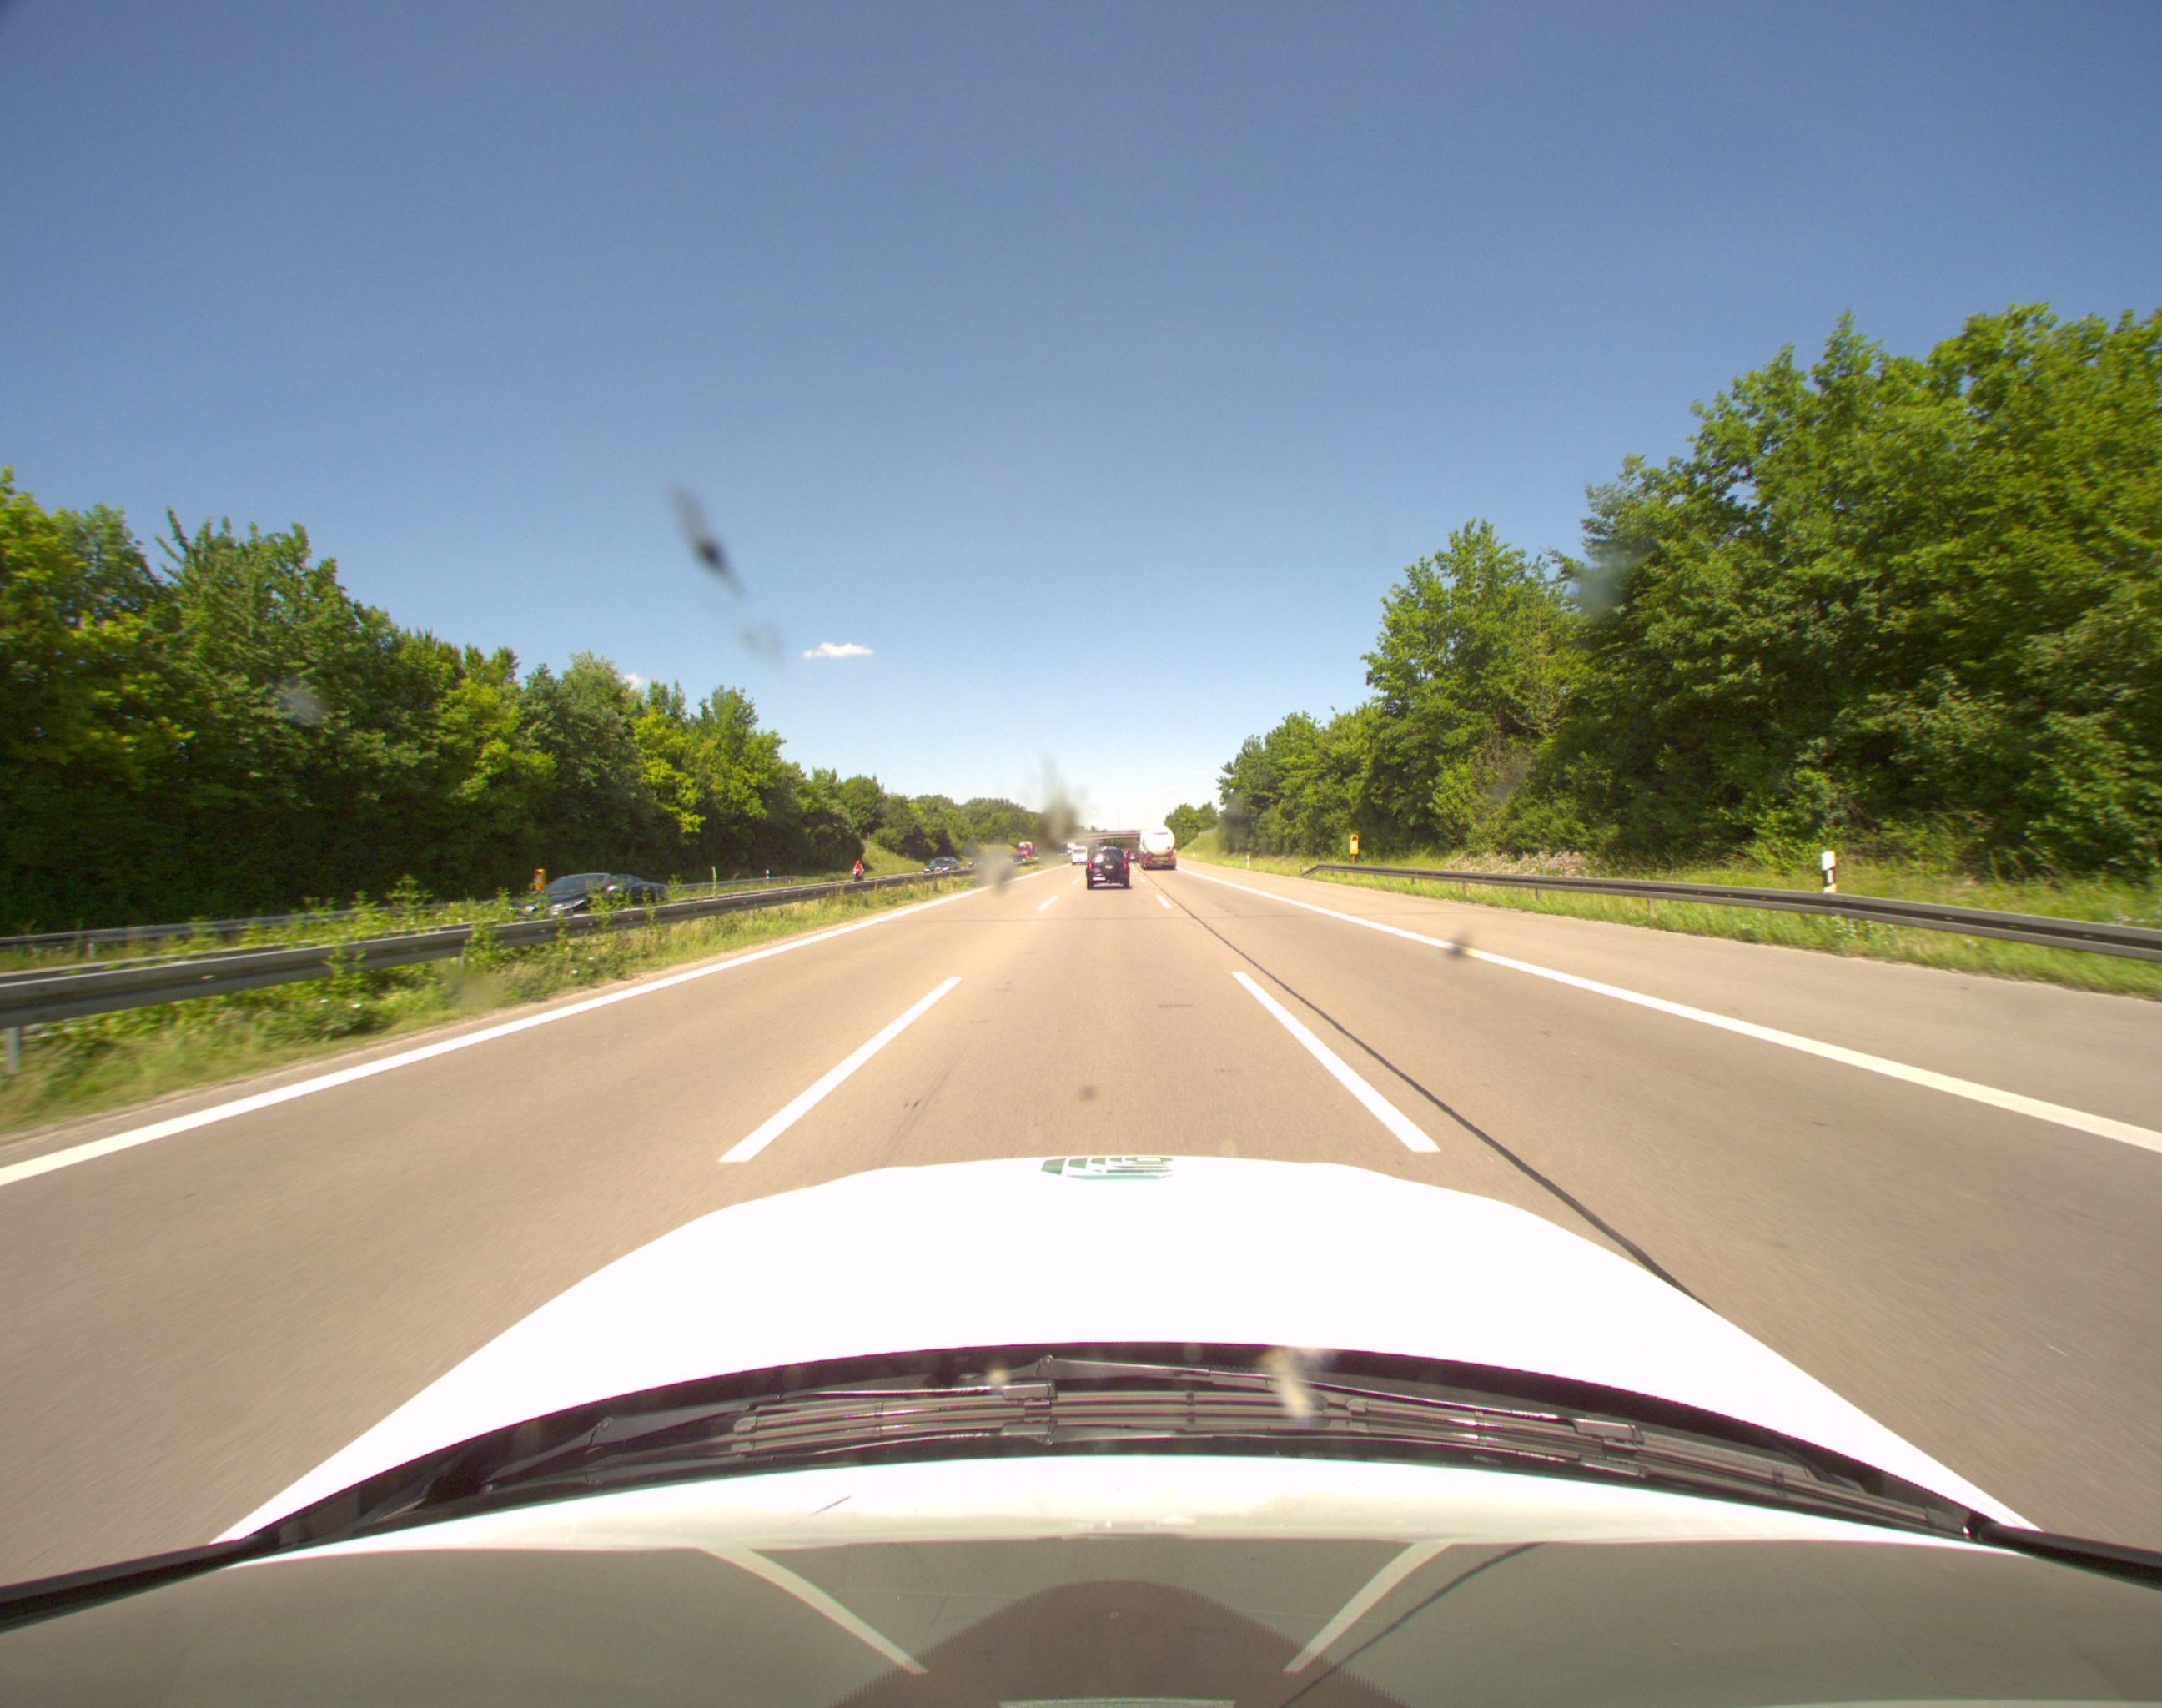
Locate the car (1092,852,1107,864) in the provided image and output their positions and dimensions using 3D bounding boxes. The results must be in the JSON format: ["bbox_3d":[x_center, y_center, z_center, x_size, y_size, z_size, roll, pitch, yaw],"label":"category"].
[{"bbox_3d":[2.692,0.605,115.919,1.986,1.552,4.001,-2,-1,2],"label":"car"}]

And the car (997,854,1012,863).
[{"bbox_3d":[-12.563,0.710,133.962,1.740,1.297,5.066,-3,0,2],"label":"car"}]

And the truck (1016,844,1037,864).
[{"bbox_3d":[-10.792,-0.041,162.326,2.668,3.769,9.927,-4,0,3],"label":"truck"}]

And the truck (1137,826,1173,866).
[{"bbox_3d":[6.527,-0.699,72.457,2.628,3.374,6.489,-1,0,1],"label":"truck"}]

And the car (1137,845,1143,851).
[{"bbox_3d":[17.090,-1.811,236.115,1.804,1.746,4.004,-3,0,3],"label":"car"}]

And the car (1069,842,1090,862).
[{"bbox_3d":[-0.129,-0.243,90.946,1.985,2.013,4.954,-3,0,3],"label":"car"}]

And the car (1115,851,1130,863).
[{"bbox_3d":[6.505,0.471,127.261,1.984,1.750,4.210,-2,0,5],"label":"car"}]

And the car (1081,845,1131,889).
[{"bbox_3d":[1.106,0.491,34.090,1.898,1.665,4.004,-2,0,4],"label":"car"}]

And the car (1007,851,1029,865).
[{"bbox_3d":[-7.444,0.479,97.183,1.986,1.475,4.834,-3,0,2],"label":"car"}]

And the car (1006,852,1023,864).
[{"bbox_3d":[-9.963,0.561,122.701,1.986,1.629,4.578,-3,0,2],"label":"car"}]

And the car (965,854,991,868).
[{"bbox_3d":[-11.983,0.829,95.211,1.986,1.475,5.626,-3,0,2],"label":"car"}]

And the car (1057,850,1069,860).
[{"bbox_3d":[-3.567,0.197,160.814,1.986,1.865,4.900,-3,0,2],"label":"car"}]

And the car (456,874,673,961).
[{"bbox_3d":[-11.468,1.329,18.547,1.986,1.520,4.429,-3,0,1],"label":"car"}]

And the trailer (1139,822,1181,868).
[{"bbox_3d":[6.328,-0.689,66.615,2.638,3.389,11.157,-1,0,2],"label":"trailer"}]

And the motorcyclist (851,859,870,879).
[{"bbox_3d":[-16.494,1.092,60.883,0.937,1.443,1.357,-3,0,1],"label":"motorcyclist"}]

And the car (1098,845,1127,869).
[{"bbox_3d":[2.386,0.210,61.489,1.986,1.706,4.338,-3,0,2],"label":"car"}]

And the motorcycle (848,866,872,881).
[{"bbox_3d":[-16.475,1.465,60.746,0.931,1.017,2.656,-3,0,2],"label":"motorcycle"}]

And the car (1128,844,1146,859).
[{"bbox_3d":[6.626,-0.252,96.420,1.984,1.684,4.004,-2,-1,4],"label":"car"}]

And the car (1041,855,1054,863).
[{"bbox_3d":[-5.542,0.817,135.512,1.661,1.317,4.124,-3,0,3],"label":"car"}]

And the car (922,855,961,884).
[{"bbox_3d":[-9.841,1.040,57.796,1.684,1.881,5.020,-3,0,1],"label":"car"}]
